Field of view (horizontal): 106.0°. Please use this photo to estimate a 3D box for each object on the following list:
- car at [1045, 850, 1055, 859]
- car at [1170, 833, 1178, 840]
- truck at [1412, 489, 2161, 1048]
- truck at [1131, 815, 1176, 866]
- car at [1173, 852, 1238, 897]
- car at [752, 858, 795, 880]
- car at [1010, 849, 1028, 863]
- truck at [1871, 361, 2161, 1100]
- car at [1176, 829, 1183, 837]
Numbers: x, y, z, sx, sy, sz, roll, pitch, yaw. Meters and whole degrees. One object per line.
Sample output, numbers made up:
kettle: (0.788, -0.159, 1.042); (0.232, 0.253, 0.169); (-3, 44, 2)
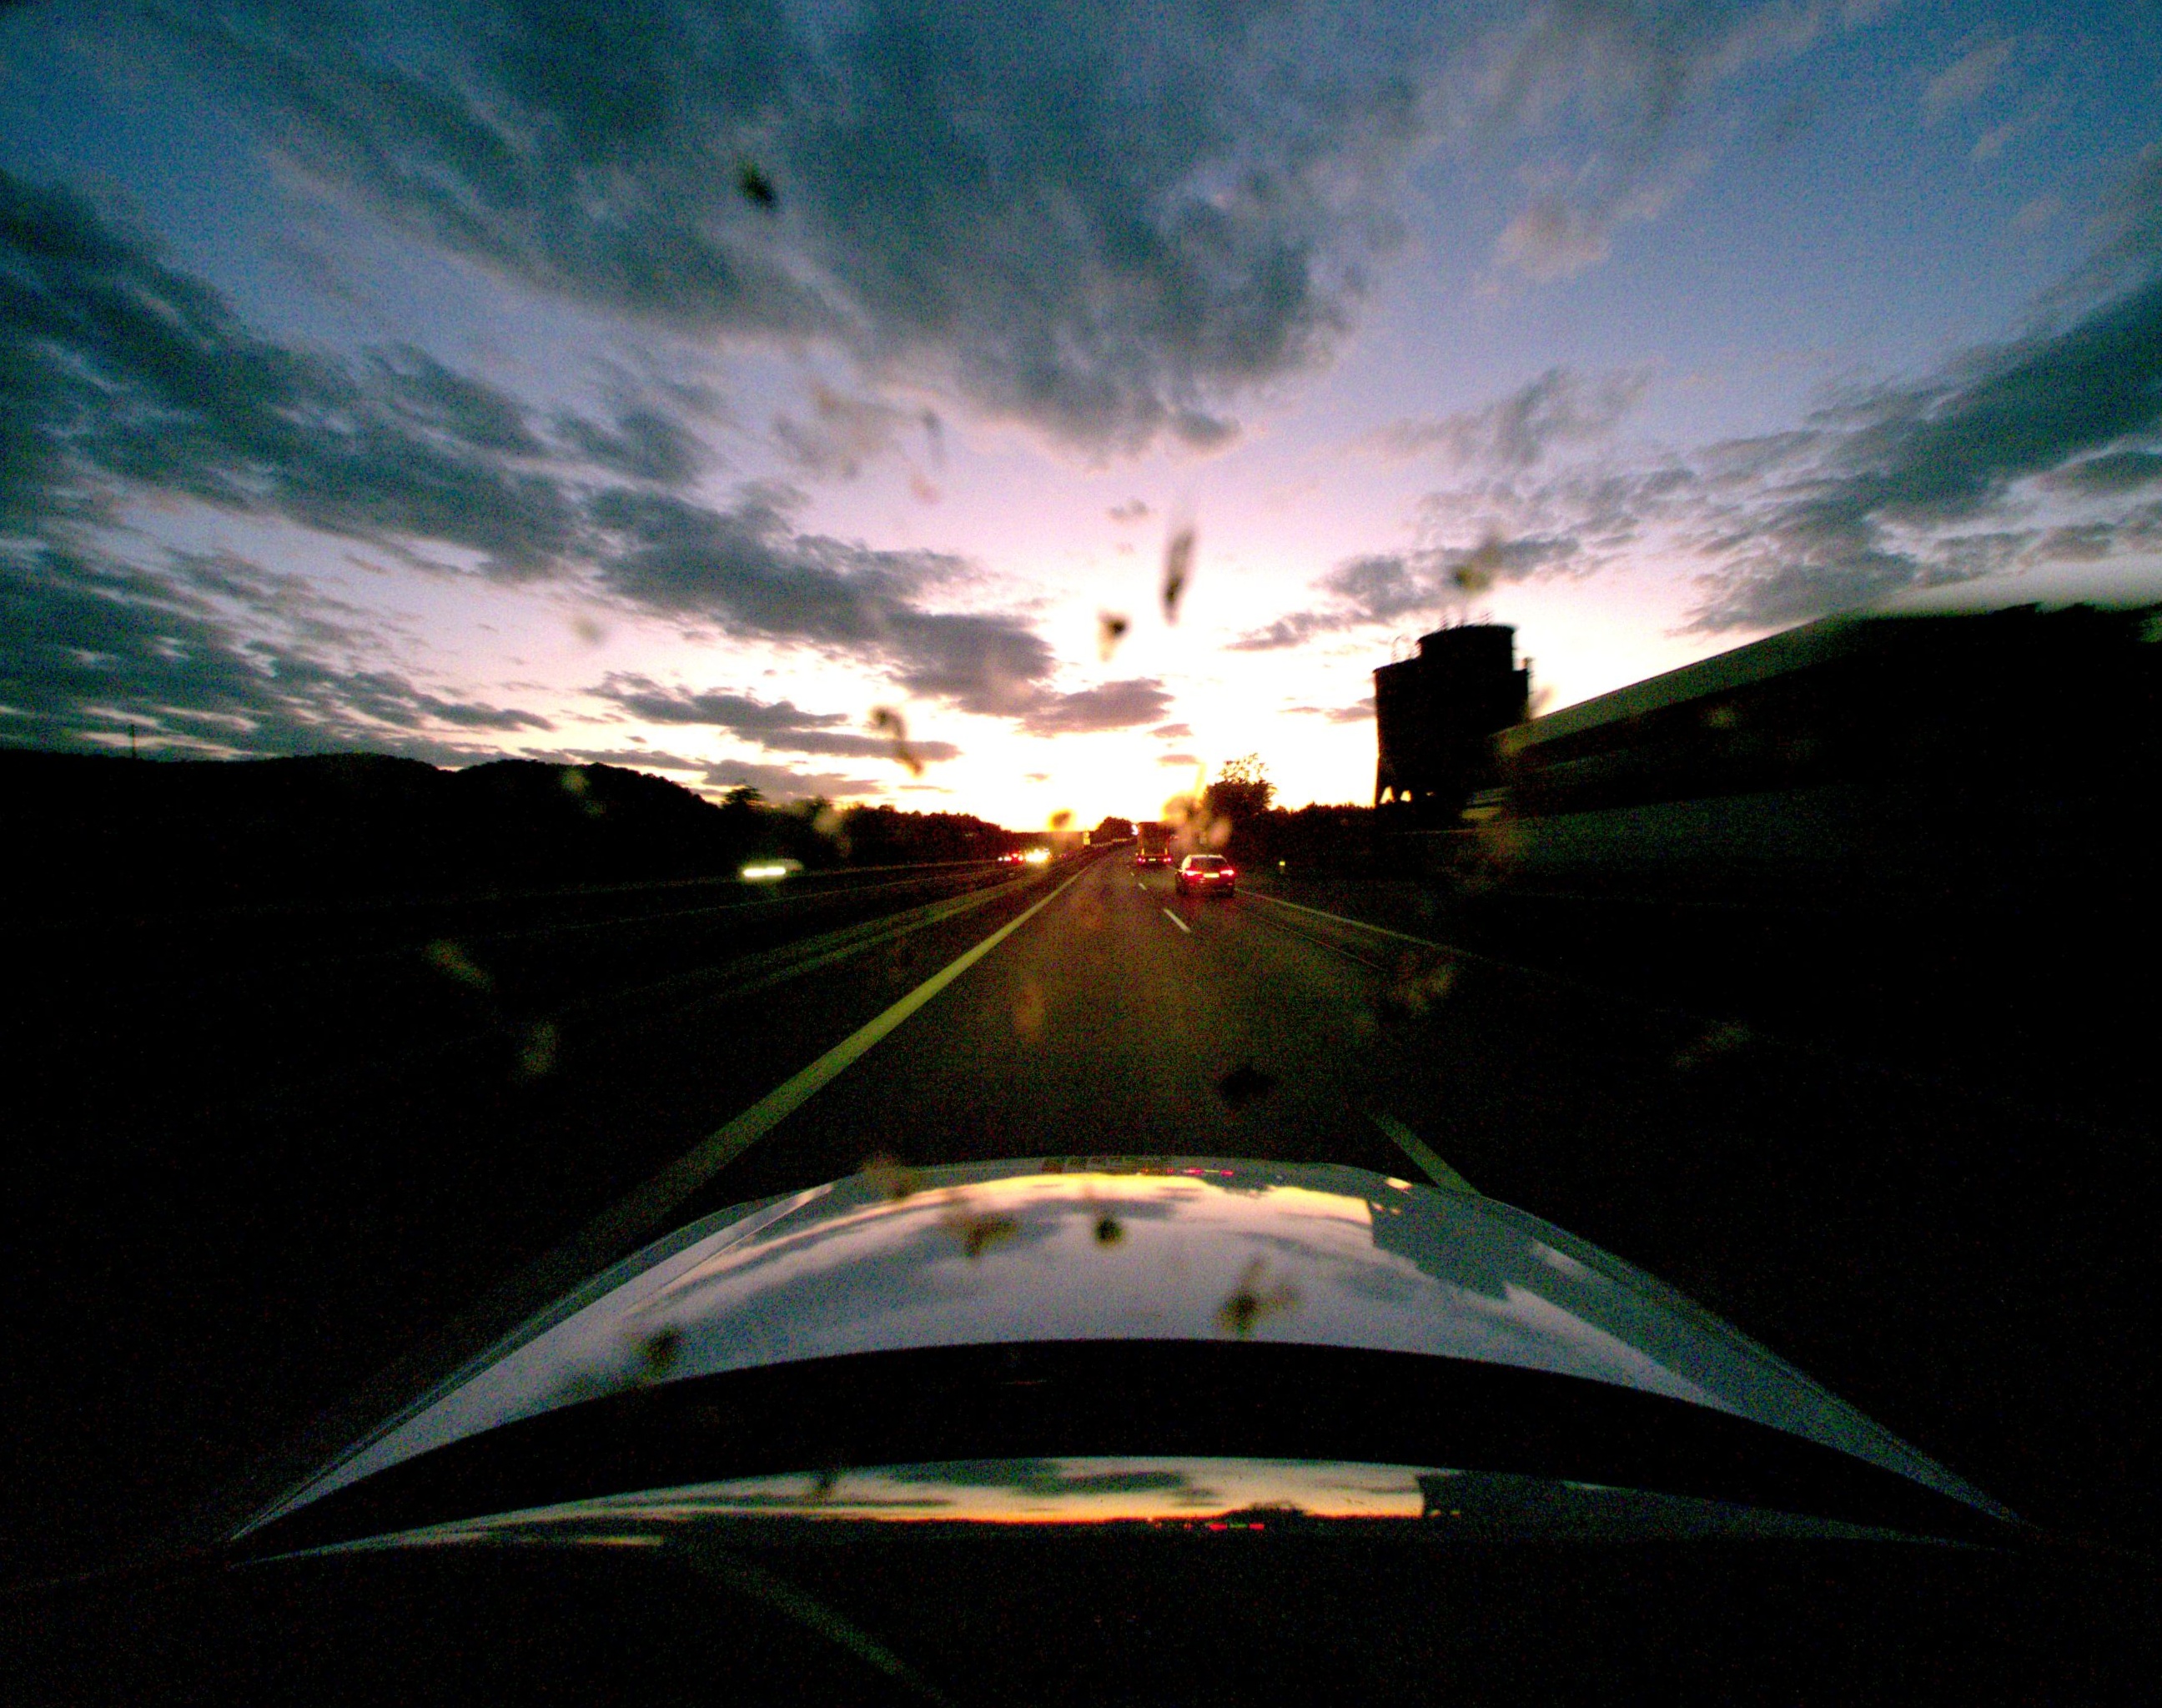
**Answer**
car: (-6.395, 0.104, 167.665); (1.706, 1.605, 3.724); (-3, 0, 2)
car: (26.202, -4.939, 230.507); (1.893, 2.013, 3.862); (-1, 0, 2)
truck: (7.558, -0.668, 10.642); (2.902, 4.111, 9.153); (-1, 0, 2)
truck: (6.703, -1.194, 76.803); (3.497, 4.301, 9.895); (-3, 0, 2)
car: (4.432, 0.687, 29.473); (1.907, 1.442, 4.004); (-3, 0, 3)
car: (-22.543, 1.061, 59.808); (1.662, 1.494, 3.675); (-1, 0, 2)
car: (-8.057, 0.252, 105.905); (1.865, 1.561, 4.521); (-3, 0, 2)
truck: (7.289, -0.687, 2.905); (2.777, 4.058, 6.414); (-1, 0, 2)
car: (28.606, -6.132, 237.013); (1.754, 2.013, 3.519); (-3, 0, 2)
